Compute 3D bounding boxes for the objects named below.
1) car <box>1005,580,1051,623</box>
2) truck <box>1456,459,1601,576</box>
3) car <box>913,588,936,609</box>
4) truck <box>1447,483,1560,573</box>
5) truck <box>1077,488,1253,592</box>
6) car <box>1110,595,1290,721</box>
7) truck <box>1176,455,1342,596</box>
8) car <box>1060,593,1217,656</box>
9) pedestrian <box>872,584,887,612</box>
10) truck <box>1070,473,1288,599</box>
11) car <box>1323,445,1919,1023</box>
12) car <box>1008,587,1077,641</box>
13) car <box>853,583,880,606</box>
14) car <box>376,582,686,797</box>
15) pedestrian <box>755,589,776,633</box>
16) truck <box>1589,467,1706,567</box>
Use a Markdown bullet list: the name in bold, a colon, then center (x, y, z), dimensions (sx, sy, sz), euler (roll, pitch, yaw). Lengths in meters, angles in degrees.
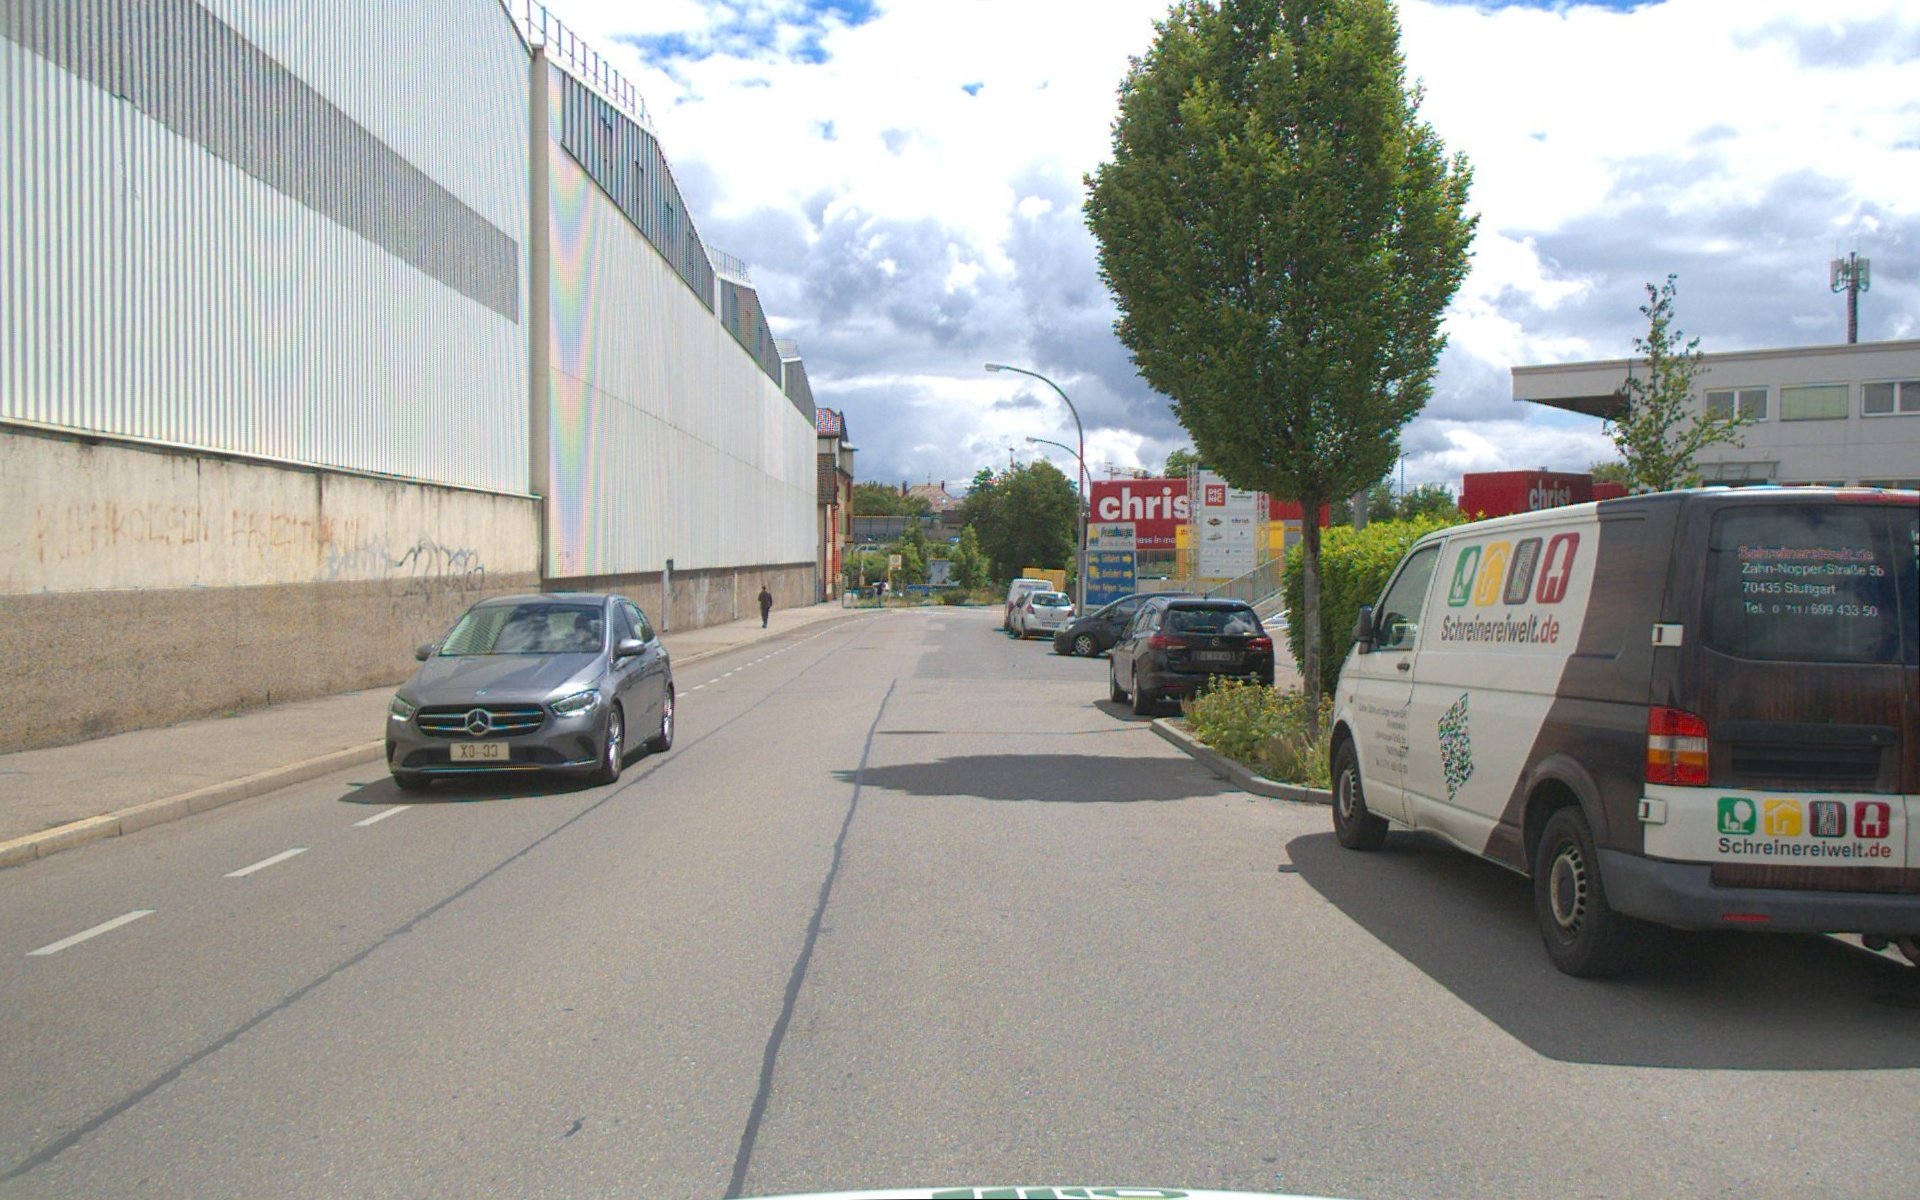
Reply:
- **car**: center (2.577, 0.037, 63.169), dimensions (1.666, 1.554, 3.738), euler (0, 0, 1)
- **truck**: center (23.215, -3.198, 67.249), dimensions (2.942, 4.131, 8.437), euler (-1, -2, 38)
- **car**: center (-2.812, -0.116, 130.567), dimensions (1.815, 1.512, 3.998), euler (0, -1, -1)
- **truck**: center (28.659, -3.665, 86.947), dimensions (2.942, 4.131, 8.437), euler (-1, -2, 38)
- **truck**: center (9.881, -2.833, 79.578), dimensions (8.269, 4.753, 2.584), euler (0, -2, 10)
- **car**: center (3.080, 0.689, 22.089), dimensions (1.679, 1.499, 4.510), euler (0, 0, -1)
- **truck**: center (10.617, -2.522, 59.716), dimensions (2.534, 4.527, 7.822), euler (1, -2, -18)
- **car**: center (4.327, 0.582, 40.448), dimensions (3.703, 1.472, 1.707), euler (0, 0, 2)
- **pedestrian**: center (-4.988, -0.138, 102.434), dimensions (0.835, 1.692, 0.860), euler (0, -2, 4)
- **truck**: center (8.766, -2.481, 66.337), dimensions (8.275, 4.753, 2.583), euler (0, -2, 20)
- **car**: center (3.362, 0.462, 8.389), dimensions (1.831, 2.025, 5.143), euler (0, 0, -1)
- **car**: center (2.580, 0.417, 52.327), dimensions (1.668, 1.554, 3.735), euler (3, 0, -4)
- **car**: center (-6.725, -0.375, 118.977), dimensions (1.815, 1.512, 3.998), euler (0, -1, -1)
- **car**: center (-3.566, 0.698, 14.540), dimensions (1.684, 1.583, 4.286), euler (-1, -1, -1)
- **pedestrian**: center (-7.480, 0.416, 63.512), dimensions (0.698, 1.666, 0.777), euler (0, -2, 1)
- **truck**: center (32.823, -3.813, 78.761), dimensions (2.942, 4.131, 8.437), euler (-1, -2, 38)
